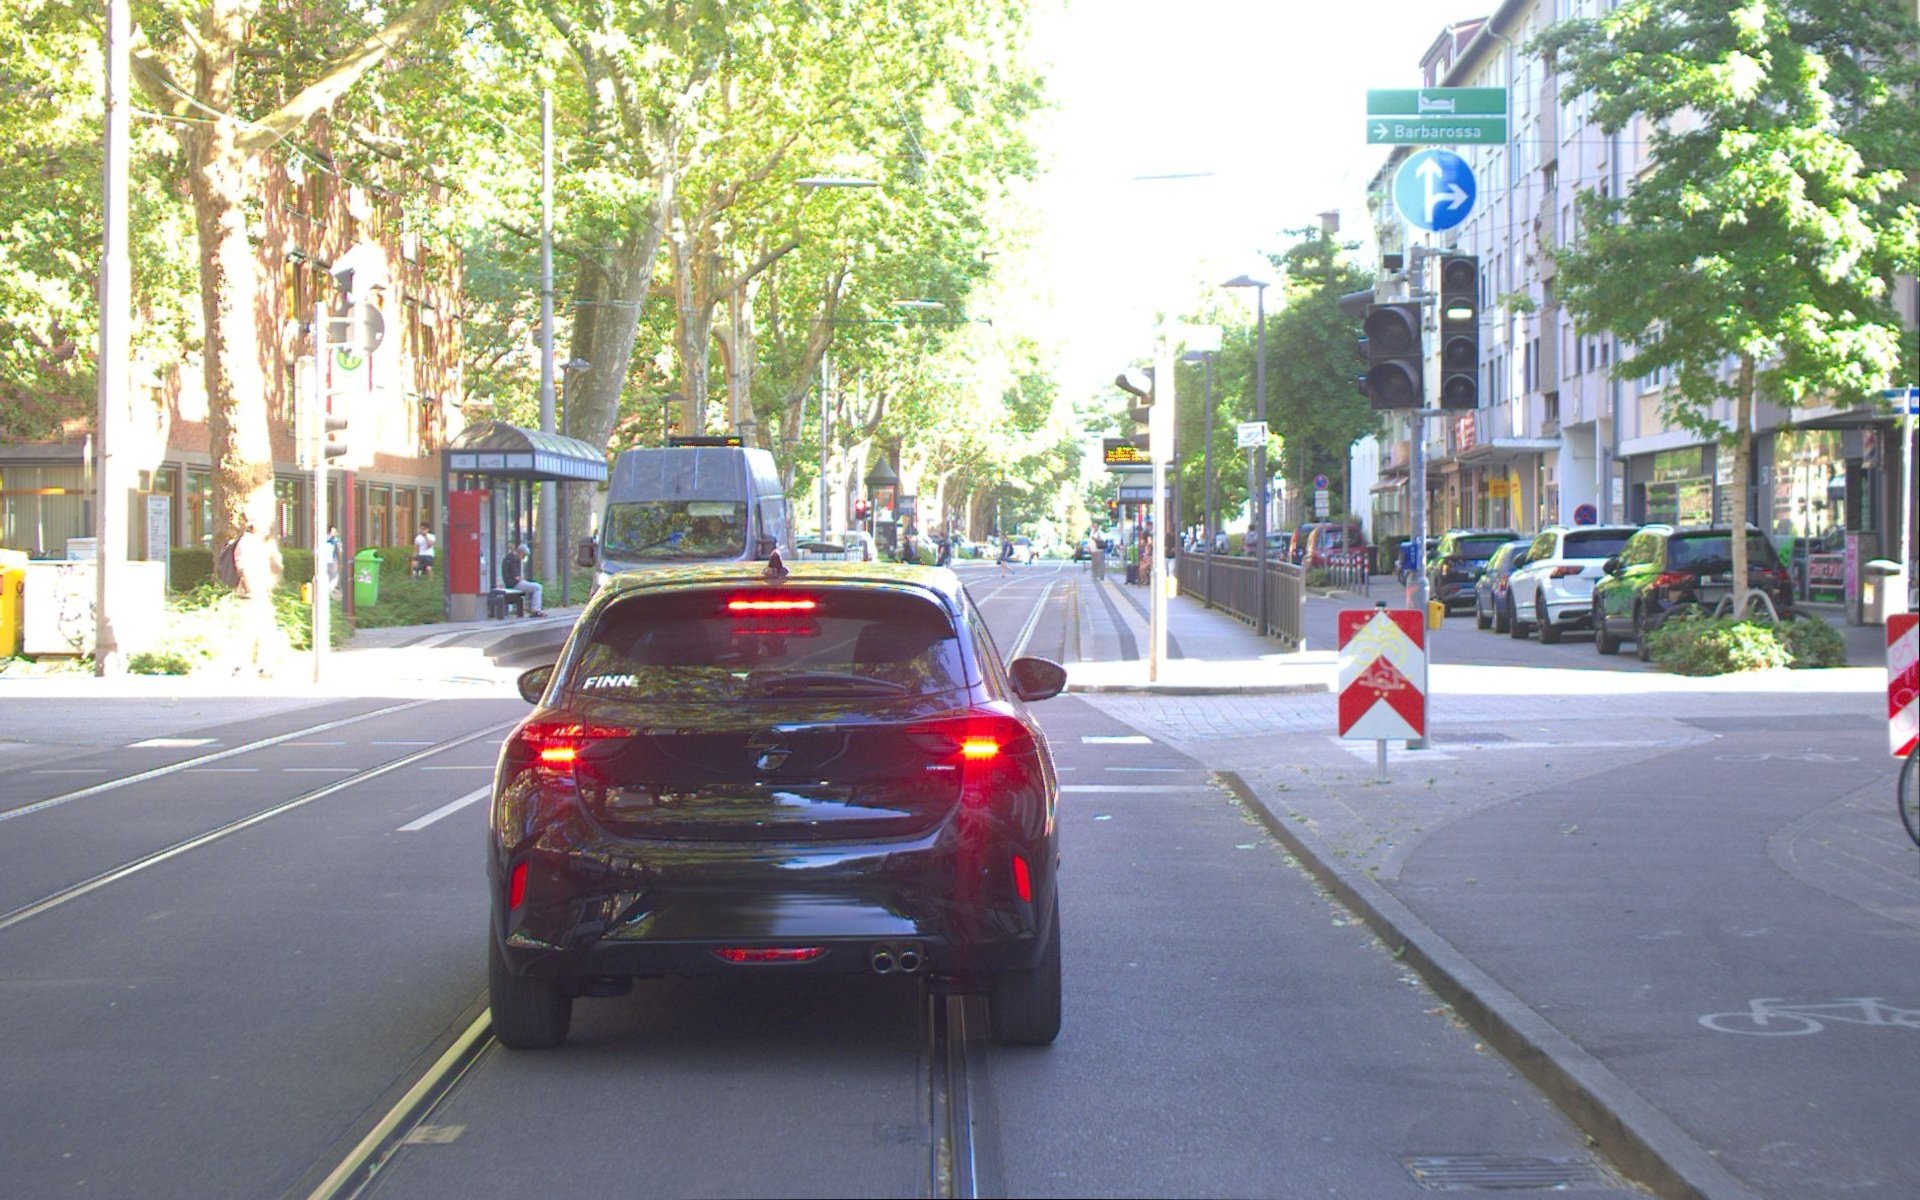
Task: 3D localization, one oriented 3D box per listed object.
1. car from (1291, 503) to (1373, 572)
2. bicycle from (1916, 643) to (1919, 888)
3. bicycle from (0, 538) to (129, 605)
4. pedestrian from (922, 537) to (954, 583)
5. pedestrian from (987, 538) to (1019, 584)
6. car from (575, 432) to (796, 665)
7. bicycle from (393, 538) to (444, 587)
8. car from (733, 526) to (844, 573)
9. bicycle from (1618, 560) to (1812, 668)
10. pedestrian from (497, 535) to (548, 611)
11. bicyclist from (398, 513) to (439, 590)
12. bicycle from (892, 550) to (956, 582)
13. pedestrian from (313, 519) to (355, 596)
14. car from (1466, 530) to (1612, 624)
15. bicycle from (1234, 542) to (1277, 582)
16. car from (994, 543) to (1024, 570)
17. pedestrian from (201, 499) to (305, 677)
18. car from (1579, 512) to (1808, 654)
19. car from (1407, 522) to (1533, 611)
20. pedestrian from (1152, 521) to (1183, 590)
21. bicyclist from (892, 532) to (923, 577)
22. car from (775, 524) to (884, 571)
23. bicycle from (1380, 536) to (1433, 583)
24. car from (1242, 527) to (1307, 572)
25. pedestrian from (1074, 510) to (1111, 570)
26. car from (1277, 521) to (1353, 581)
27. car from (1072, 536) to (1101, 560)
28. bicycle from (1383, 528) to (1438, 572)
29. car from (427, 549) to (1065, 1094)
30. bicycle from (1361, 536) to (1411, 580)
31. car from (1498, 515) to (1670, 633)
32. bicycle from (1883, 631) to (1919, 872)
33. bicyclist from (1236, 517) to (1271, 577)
[{"bbox_3d":[10.778,-1.806,99.945,1.993,1.946,4.000,1,1,1],"label":"car"},{"bbox_3d":[4.809,0.630,13.771,1.815,1.096,0.498,1,0,-6],"label":"bicycle"},{"bbox_3d":[-16.521,-0.529,63.112,2.340,1.162,0.682,2,0,3],"label":"bicycle"},{"bbox_3d":[-0.849,-1.549,133.078,1.163,1.742,0.958,1,0,-3],"label":"pedestrian"},{"bbox_3d":[1.671,-1.509,133.213,1.163,1.742,0.958,1,0,-3],"label":"pedestrian"},{"bbox_3d":[-3.408,-0.639,43.847,2.114,2.729,6.114,-1,0,2],"label":"car"},{"bbox_3d":[-12.396,-0.860,78.713,0.782,1.107,2.596,1,1,-1],"label":"bicycle"},{"bbox_3d":[-6.500,-1.918,130.425,4.113,1.695,1.884,1,0,-5],"label":"car"},{"bbox_3d":[8.636,0.152,39.392,2.127,1.183,0.681,1,0,10],"label":"bicycle"},{"bbox_3d":[-6.886,-0.427,54.132,0.705,1.164,0.659,-1,0,-1],"label":"pedestrian"},{"bbox_3d":[-12.382,-1.115,78.647,0.774,1.744,0.997,1,0,0],"label":"bicyclist"},{"bbox_3d":[-1.422,-1.337,136.717,2.480,1.236,0.958,1,0,-3],"label":"bicycle"},{"bbox_3d":[-13.714,-0.929,75.328,0.735,1.666,0.861,1,0,2],"label":"pedestrian"},{"bbox_3d":[9.247,-0.377,55.220,1.744,1.435,4.247,1,1,2],"label":"car"},{"bbox_3d":[8.709,-1.125,101.453,0.861,1.132,2.396,1,1,-4],"label":"bicycle"},{"bbox_3d":[2.881,-2.568,203.237,1.745,1.539,4.000,1,1,0],"label":"car"},{"bbox_3d":[-7.482,-0.139,36.428,0.924,1.829,0.920,1,3,-2],"label":"pedestrian"},{"bbox_3d":[8.963,-0.219,42.373,1.993,1.610,4.445,-1,0,2],"label":"car"},{"bbox_3d":[9.686,-0.641,65.582,1.857,1.610,4.397,1,1,2],"label":"car"},{"bbox_3d":[4.811,-1.047,79.840,0.631,1.571,0.870,2,1,2],"label":"pedestrian"},{"bbox_3d":[-2.081,-1.799,136.675,1.163,1.742,0.958,1,0,-3],"label":"bicyclist"},{"bbox_3d":[-5.390,-2.173,141.981,4.384,1.845,2.000,1,0,-5],"label":"car"},{"bbox_3d":[11.182,-1.016,86.110,0.621,1.132,2.440,1,1,-9],"label":"bicycle"},{"bbox_3d":[10.878,-1.743,118.950,1.993,1.481,4.000,1,1,2],"label":"car"},{"bbox_3d":[3.814,-1.725,98.776,0.751,1.703,0.761,1,1,37],"label":"pedestrian"},{"bbox_3d":[11.002,-1.508,106.706,1.993,1.791,4.000,1,1,1],"label":"car"},{"bbox_3d":[8.099,-3.323,220.347,1.745,1.539,4.000,1,1,0],"label":"car"},{"bbox_3d":[11.969,-1.330,91.483,0.611,1.132,2.922,1,1,-9],"label":"bicycle"},{"bbox_3d":[-0.599,0.597,11.376,1.760,1.503,3.683,0,1,0],"label":"car"},{"bbox_3d":[10.986,-1.084,88.727,0.602,1.132,2.435,1,1,-9],"label":"bicycle"},{"bbox_3d":[8.978,-0.387,49.742,1.799,1.600,4.415,1,1,2],"label":"car"},{"bbox_3d":[4.885,0.647,14.534,1.815,0.991,0.481,1,0,0],"label":"bicycle"},{"bbox_3d":[8.686,-1.575,101.782,0.861,1.753,1.054,1,0,-4],"label":"bicyclist"}]
